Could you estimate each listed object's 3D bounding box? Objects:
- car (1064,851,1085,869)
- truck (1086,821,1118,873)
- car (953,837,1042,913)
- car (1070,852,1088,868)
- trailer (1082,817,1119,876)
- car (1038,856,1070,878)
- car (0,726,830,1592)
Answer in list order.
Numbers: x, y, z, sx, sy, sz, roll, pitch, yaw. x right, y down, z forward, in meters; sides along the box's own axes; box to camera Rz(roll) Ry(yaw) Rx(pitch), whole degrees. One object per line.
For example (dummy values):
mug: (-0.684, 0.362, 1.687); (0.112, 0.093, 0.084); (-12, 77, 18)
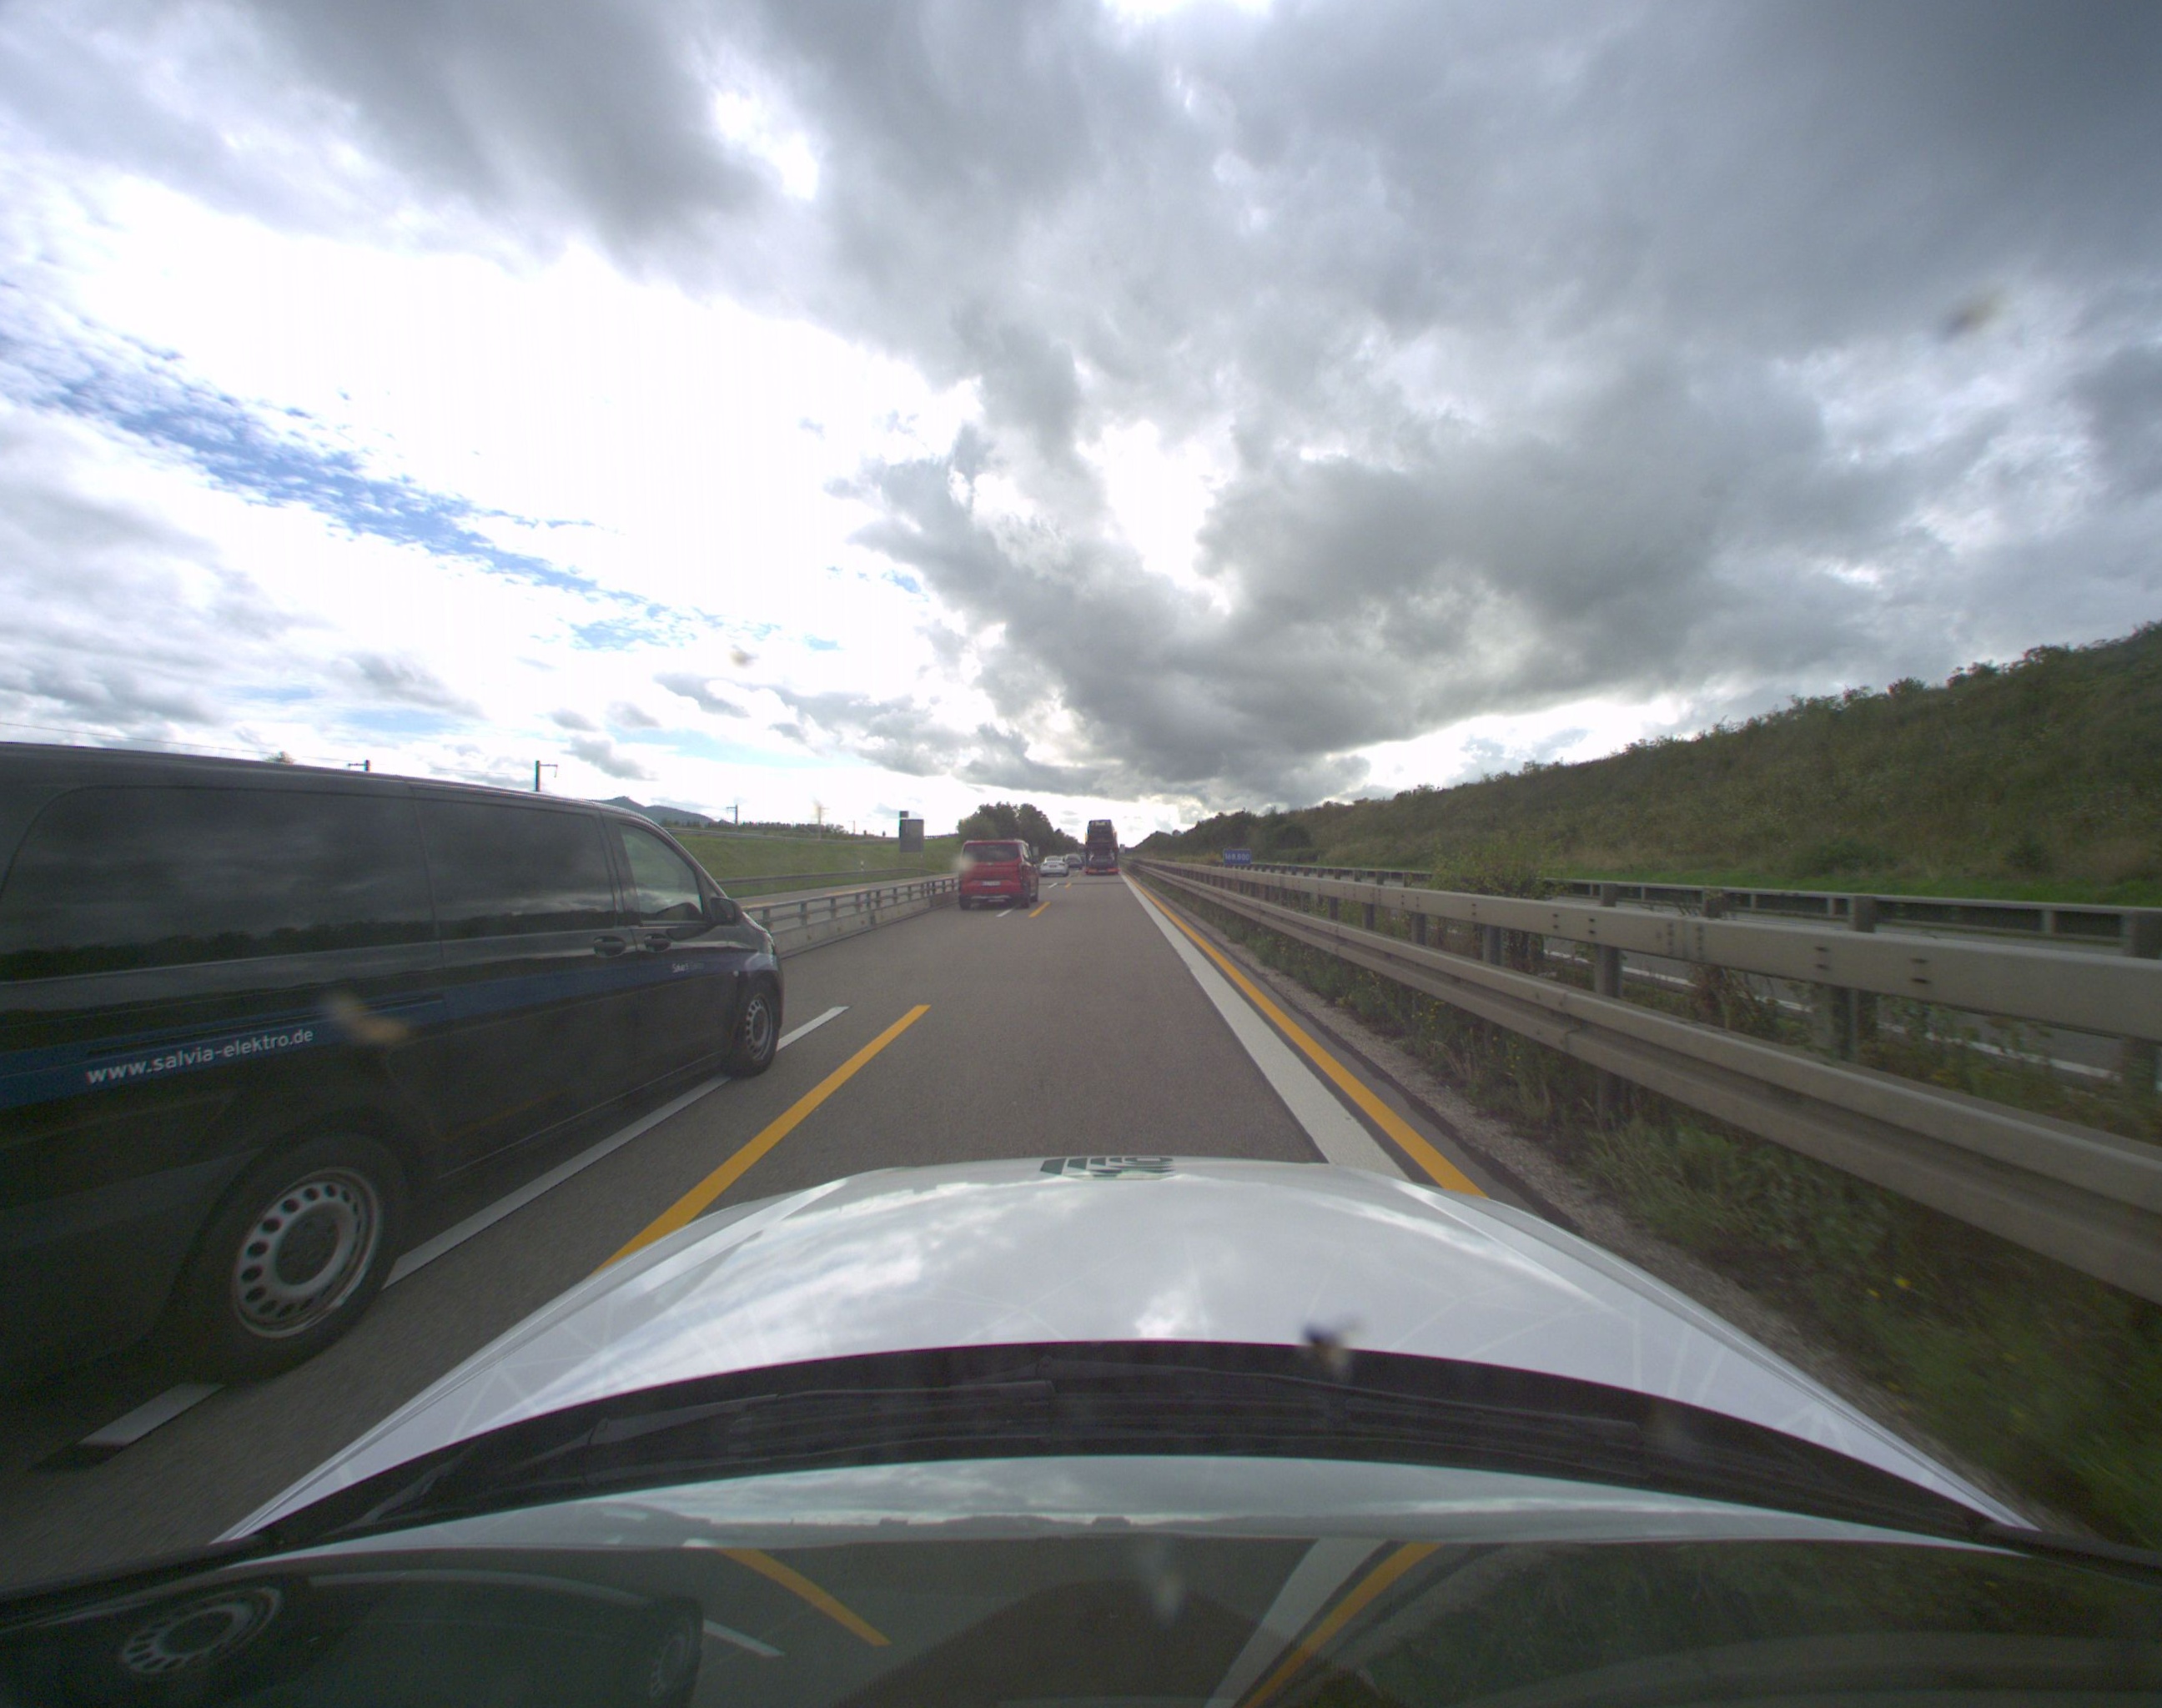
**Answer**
car: (-0.633, 0.564, 84.855); (2.024, 1.757, 4.579); (-2, 0, 1)
truck: (1.819, -0.551, 68.016); (2.505, 4.105, 5.688); (-1, 0, 2)
car: (-2.388, 0.576, 24.537); (2.023, 2.013, 4.580); (-2, 0, 2)
car: (-0.179, 0.692, 98.297); (2.024, 1.757, 4.578); (-2, 0, 1)
trailer: (1.611, -0.540, 63.121); (2.505, 4.105, 11.119); (-1, 0, 2)
car: (-1.868, 0.879, 58.363); (2.024, 1.430, 4.579); (-2, 0, 1)
car: (-3.235, 0.675, 4.092); (1.986, 1.843, 5.612); (-2, 0, 2)
